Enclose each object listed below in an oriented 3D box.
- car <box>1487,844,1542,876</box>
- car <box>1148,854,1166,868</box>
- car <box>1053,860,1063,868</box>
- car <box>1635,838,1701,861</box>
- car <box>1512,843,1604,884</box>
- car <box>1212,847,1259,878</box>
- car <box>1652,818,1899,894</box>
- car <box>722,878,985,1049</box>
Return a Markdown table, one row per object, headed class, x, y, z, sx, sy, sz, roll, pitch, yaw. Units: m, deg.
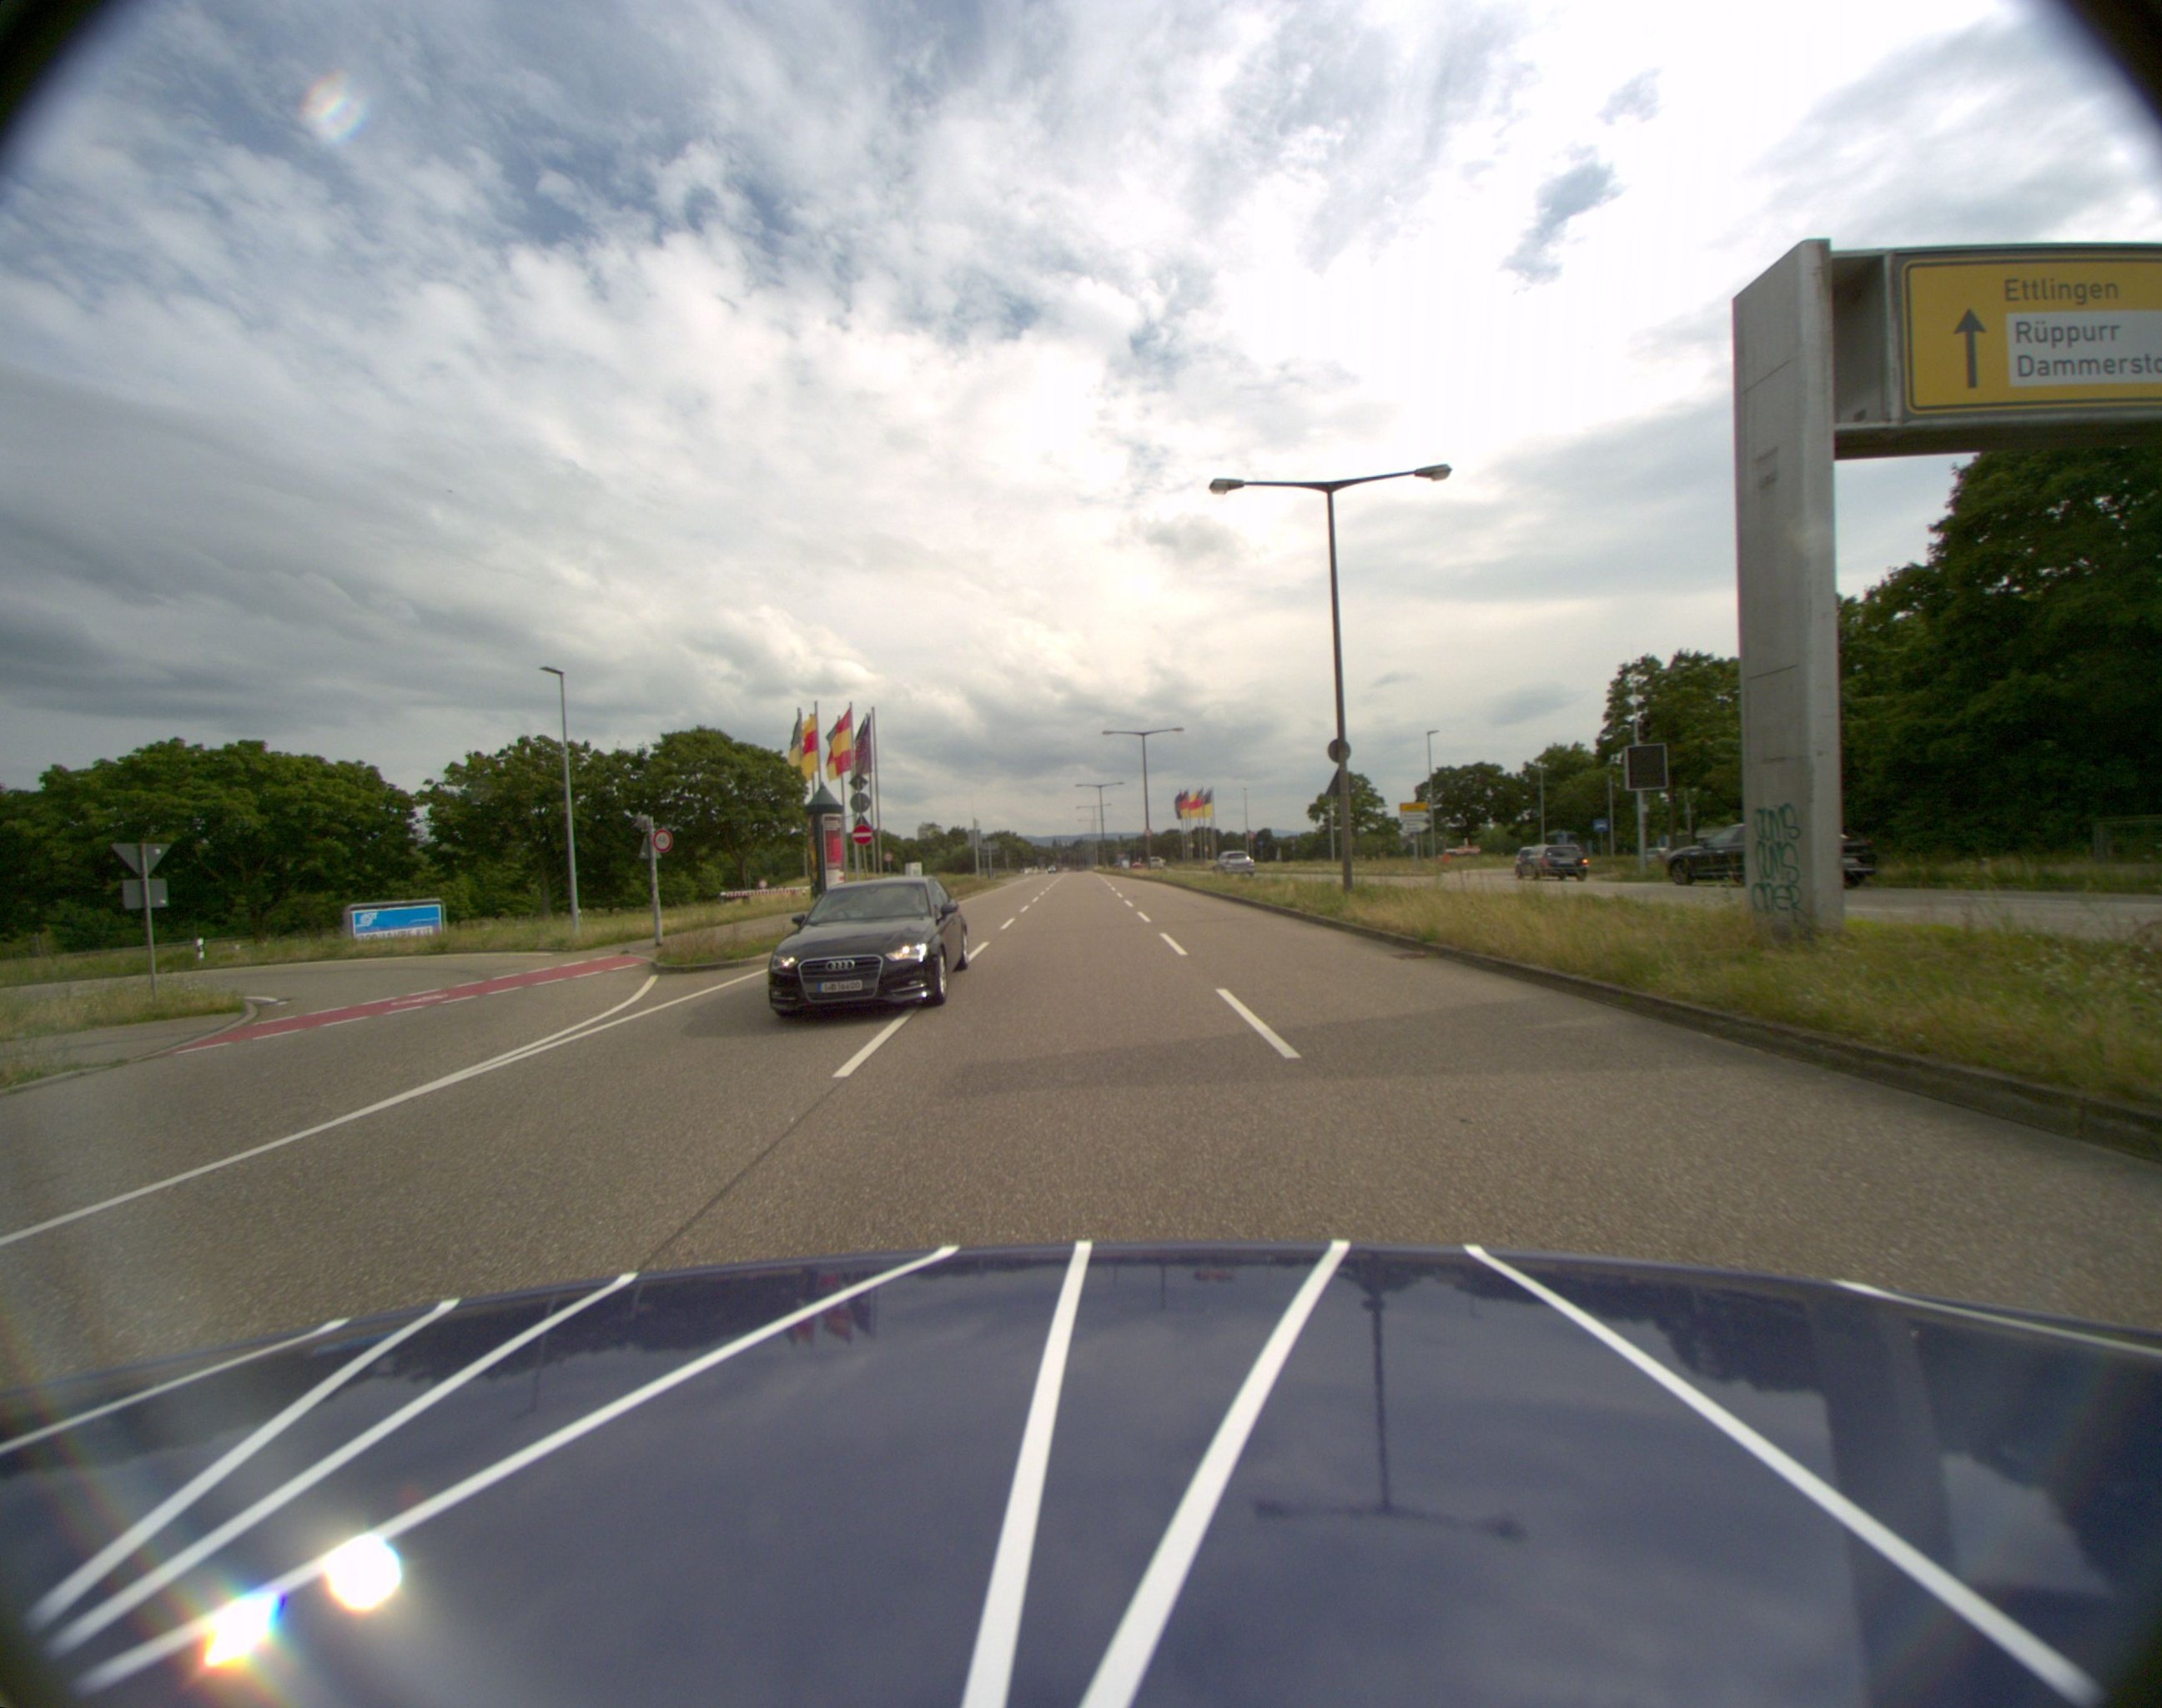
| class | x | y | z | sx | sy | sz | roll | pitch | yaw |
| --- | --- | --- | --- | --- | --- | --- | --- | --- | --- |
| car | 23.198 | 0.298 | 40.770 | 1.820 | 1.598 | 3.902 | 1 | 1 | 19 |
| car | 9.538 | 0.844 | 95.396 | 1.776 | 1.598 | 3.875 | -2 | 1 | -2 |
| car | -5.013 | 2.082 | 165.303 | 1.998 | 1.518 | 3.999 | -5 | 1 | 1 |
| car | 42.018 | -0.335 | 54.375 | 4.004 | 1.276 | 1.997 | -4 | 0 | -24 |
| car | 19.110 | 0.389 | 30.682 | 1.889 | 1.518 | 4.674 | 1 | -1 | 16 |
| car | 8.816 | 0.483 | 43.607 | 1.776 | 1.597 | 3.877 | -2 | -1 | -2 |
| car | 17.133 | 0.099 | 19.175 | 1.891 | 1.597 | 4.761 | -3 | -1 | 2 |
| car | -2.429 | 1.098 | 9.495 | 1.853 | 1.355 | 4.729 | -2 | 0 | -1 |
